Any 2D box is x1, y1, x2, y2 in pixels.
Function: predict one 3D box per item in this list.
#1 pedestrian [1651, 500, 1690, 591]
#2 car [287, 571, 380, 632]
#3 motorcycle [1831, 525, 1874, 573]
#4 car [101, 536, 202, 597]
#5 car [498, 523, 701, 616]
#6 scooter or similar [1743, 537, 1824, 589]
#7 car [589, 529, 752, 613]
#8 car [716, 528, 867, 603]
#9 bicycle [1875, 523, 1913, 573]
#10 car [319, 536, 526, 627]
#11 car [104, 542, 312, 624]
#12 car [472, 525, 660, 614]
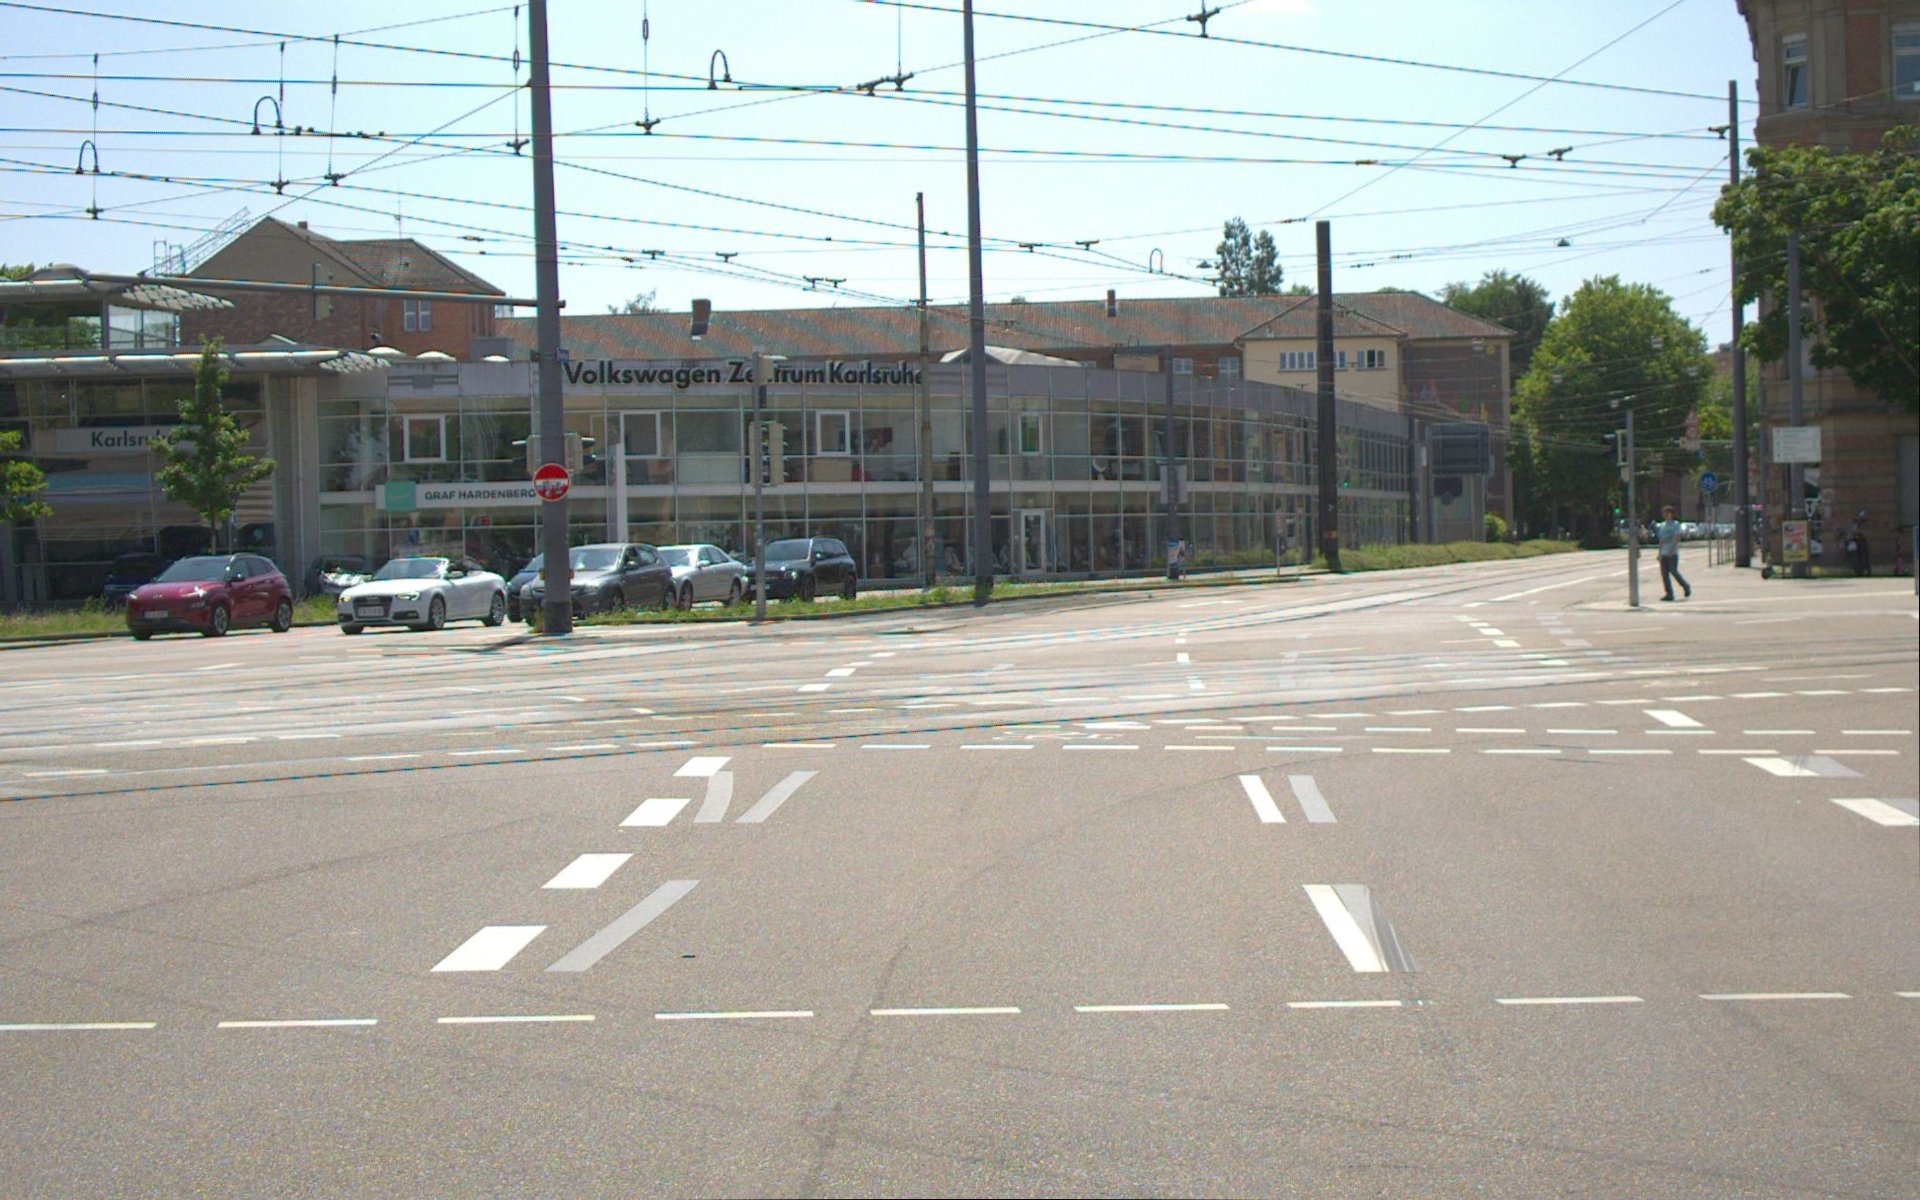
[{"bbox_3d":[13.322,-1.023,64.474,0.460,1.702,0.640,-1,1,-15],"label":"pedestrian"},{"bbox_3d":[-18.169,0.031,99.873,1.920,1.701,4.000,1,0,1],"label":"car"},{"bbox_3d":[20.347,-1.159,78.424,0.580,1.071,1.946,-1,1,4],"label":"motorcycle"},{"bbox_3d":[-23.431,-0.952,99.786,1.920,1.701,4.000,1,0,1],"label":"car"},{"bbox_3d":[-6.656,-0.598,64.073,1.995,1.632,4.842,-1,1,17],"label":"car"},{"bbox_3d":[19.460,-0.882,81.223,1.786,1.177,0.600,-1,1,-16],"label":"scooter or similar"},{"bbox_3d":[-6.346,-0.666,75.843,1.995,1.733,4.540,-1,1,17],"label":"car"},{"bbox_3d":[-4.008,-0.848,82.678,2.080,1.677,4.842,-1,1,17],"label":"car"},{"bbox_3d":[21.284,-1.198,78.349,0.551,1.116,1.820,-1,1,7],"label":"bicycle"},{"bbox_3d":[-9.905,-0.369,63.794,2.078,1.574,4.843,-1,1,14],"label":"car"},{"bbox_3d":[-14.503,-0.347,66.574,1.995,1.460,4.843,-1,1,14],"label":"car"},{"bbox_3d":[-7.955,-0.639,69.913,1.995,1.694,4.842,-1,1,17],"label":"car"}]
